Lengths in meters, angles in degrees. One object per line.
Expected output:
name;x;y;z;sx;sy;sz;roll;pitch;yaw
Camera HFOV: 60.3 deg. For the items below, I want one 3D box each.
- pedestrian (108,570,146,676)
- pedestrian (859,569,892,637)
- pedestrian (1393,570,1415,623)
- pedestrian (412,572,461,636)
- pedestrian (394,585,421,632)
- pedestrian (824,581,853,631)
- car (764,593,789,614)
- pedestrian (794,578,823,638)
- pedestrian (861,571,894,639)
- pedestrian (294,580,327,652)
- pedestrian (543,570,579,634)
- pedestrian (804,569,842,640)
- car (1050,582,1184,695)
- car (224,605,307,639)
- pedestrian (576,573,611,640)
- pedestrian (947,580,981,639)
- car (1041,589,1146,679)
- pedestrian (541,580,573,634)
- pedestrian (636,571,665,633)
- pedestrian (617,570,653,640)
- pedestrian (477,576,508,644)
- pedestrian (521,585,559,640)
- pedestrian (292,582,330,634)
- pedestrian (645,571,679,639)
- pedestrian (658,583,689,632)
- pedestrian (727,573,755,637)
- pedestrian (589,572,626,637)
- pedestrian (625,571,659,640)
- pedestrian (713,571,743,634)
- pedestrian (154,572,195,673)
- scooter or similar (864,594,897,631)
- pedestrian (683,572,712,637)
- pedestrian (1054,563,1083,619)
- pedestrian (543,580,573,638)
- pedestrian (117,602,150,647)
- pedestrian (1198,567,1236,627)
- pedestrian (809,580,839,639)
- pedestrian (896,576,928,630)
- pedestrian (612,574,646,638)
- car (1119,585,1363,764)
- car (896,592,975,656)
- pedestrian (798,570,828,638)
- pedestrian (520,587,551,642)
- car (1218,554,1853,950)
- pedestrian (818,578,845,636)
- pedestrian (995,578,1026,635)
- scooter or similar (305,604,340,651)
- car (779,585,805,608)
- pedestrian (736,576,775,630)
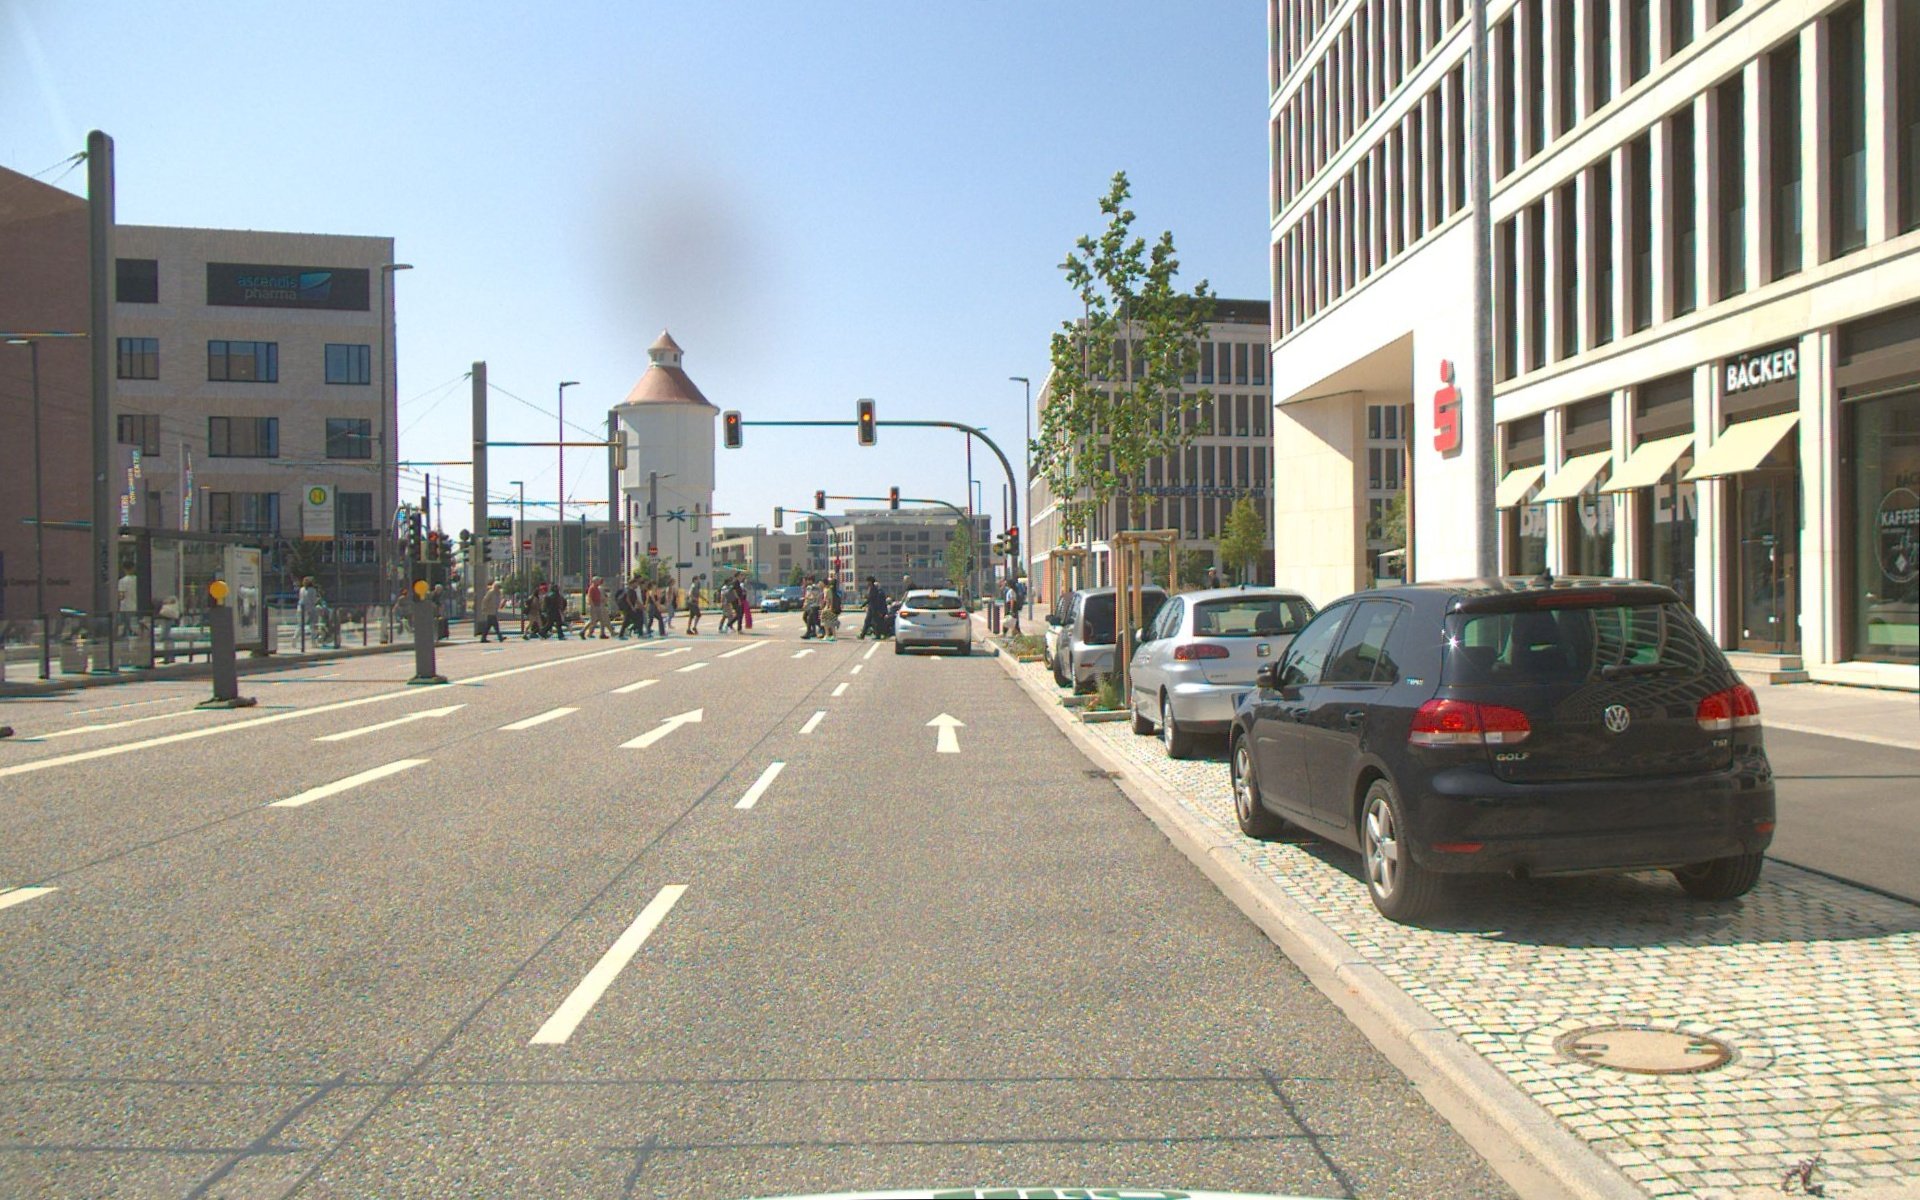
pedestrian;-14.744;0.405;29.272;0.542;1.852;0.596;0;0;-22
pedestrian;-2.458;0.090;47.894;0.871;1.923;0.795;-1;0;-6
pedestrian;17.407;-0.144;64.842;0.630;2.049;0.622;-1;0;-1
pedestrian;-16.326;0.113;51.623;1.145;1.923;1.060;-1;2;0
pedestrian;-20.538;0.305;61.506;0.659;1.711;0.692;-1;0;40
pedestrian;-4.155;0.213;56.575;0.869;1.675;0.797;-1;0;3
car;-14.061;0.258;126.816;1.554;1.557;3.257;0;-1;0
pedestrian;-4.515;0.236;49.266;0.750;1.764;0.692;-1;0;0
pedestrian;-2.359;0.136;47.041;0.871;1.923;0.795;-1;0;-6
pedestrian;-15.001;0.361;38.209;0.494;1.650;0.650;-1;0;-1
pedestrian;-13.046;0.060;54.067;1.005;2.049;0.949;-1;0;-20
pedestrian;-3.793;0.115;45.818;0.993;1.923;0.798;-1;0;-4
car;2.219;0.511;24.093;1.524;1.498;3.469;-1;0;-1
car;-37.685;1.189;89.867;3.873;1.848;1.792;0;-1;-13
pedestrian;-10.559;0.185;47.717;0.871;1.923;0.691;-1;0;-6
pedestrian;0.117;0.271;47.094;0.871;1.663;0.691;-1;0;-6
car;2.258;0.533;28.782;1.400;1.414;3.999;-1;0;-1
pedestrian;-12.930;0.216;53.008;0.880;1.703;1.007;-1;0;-19
pedestrian;-9.717;0.061;51.870;0.719;1.923;0.714;1;0;4
pedestrian;-9.004;0.141;45.880;0.871;1.923;0.691;-1;0;-6
pedestrian;-13.282;0.274;47.003;0.623;1.923;0.796;-1;0;0
pedestrian;-12.921;0.366;50.874;0.891;1.665;0.814;-1;0;4
pedestrian;-24.375;0.290;62.156;0.869;1.923;0.984;-1;0;19
pedestrian;-8.580;0.141;47.624;0.871;1.923;0.691;-1;0;-6
pedestrian;-9.904;0.250;57.230;0.869;1.675;0.797;-1;0;3
pedestrian;-6.709;0.141;50.676;0.750;1.923;0.692;-1;0;0
pedestrian;-10.562;0.134;49.600;0.869;1.923;0.797;-1;0;4
pedestrian;-8.972;0.148;46.679;0.871;1.923;0.691;-1;0;-6
pedestrian;-7.254;0.069;51.704;0.824;1.923;0.692;-1;0;0
pedestrian;-14.555;0.406;30.655;0.654;1.852;0.718;0;0;-24
scooter or similar;-2.500;0.396;51.964;0.933;1.137;0.765;-1;0;-11
pedestrian;-7.943;0.133;50.102;0.750;1.923;0.692;-1;0;0
pedestrian;3.350;-0.279;51.044;0.869;1.675;0.797;-1;0;3
pedestrian;-11.577;0.243;47.650;0.620;1.646;0.768;-1;0;5
pedestrian;-29.762;0.884;59.574;0.696;1.599;0.890;-1;0;-2
pedestrian;7.319;-0.089;47.136;0.970;1.684;0.692;-1;0;0
pedestrian;-3.980;0.268;48.404;0.777;1.675;0.891;-1;0;1
pedestrian;-1.506;0.084;51.937;0.872;1.675;0.794;-1;0;-11
pedestrian;-10.096;0.174;50.462;0.870;1.923;0.796;-1;0;-1
car;2.575;0.618;15.963;1.573;1.411;3.814;-4;1;-1
car;-0.540;0.566;38.795;1.735;1.419;3.532;1;-1;1
pedestrian;-4.215;0.119;47.475;0.715;1.923;0.821;-1;0;5
pedestrian;-12.547;0.430;48.900;0.713;1.603;0.642;-1;0;4
car;2.665;0.597;8.720;1.702;1.500;3.977;-3;1;-4
pedestrian;-4.009;0.215;51.591;0.750;1.764;0.692;-1;0;0
pedestrian;1.464;0.184;47.890;0.750;1.648;0.692;-1;0;15
scooter or similar;-15.025;0.649;38.968;0.494;1.077;0.833;-1;0;-1
car;-11.532;-0.230;113.720;1.555;1.557;3.691;0;-1;-2
pedestrian;-7.132;0.094;57.702;1.156;1.852;1.069;-1;0;3
